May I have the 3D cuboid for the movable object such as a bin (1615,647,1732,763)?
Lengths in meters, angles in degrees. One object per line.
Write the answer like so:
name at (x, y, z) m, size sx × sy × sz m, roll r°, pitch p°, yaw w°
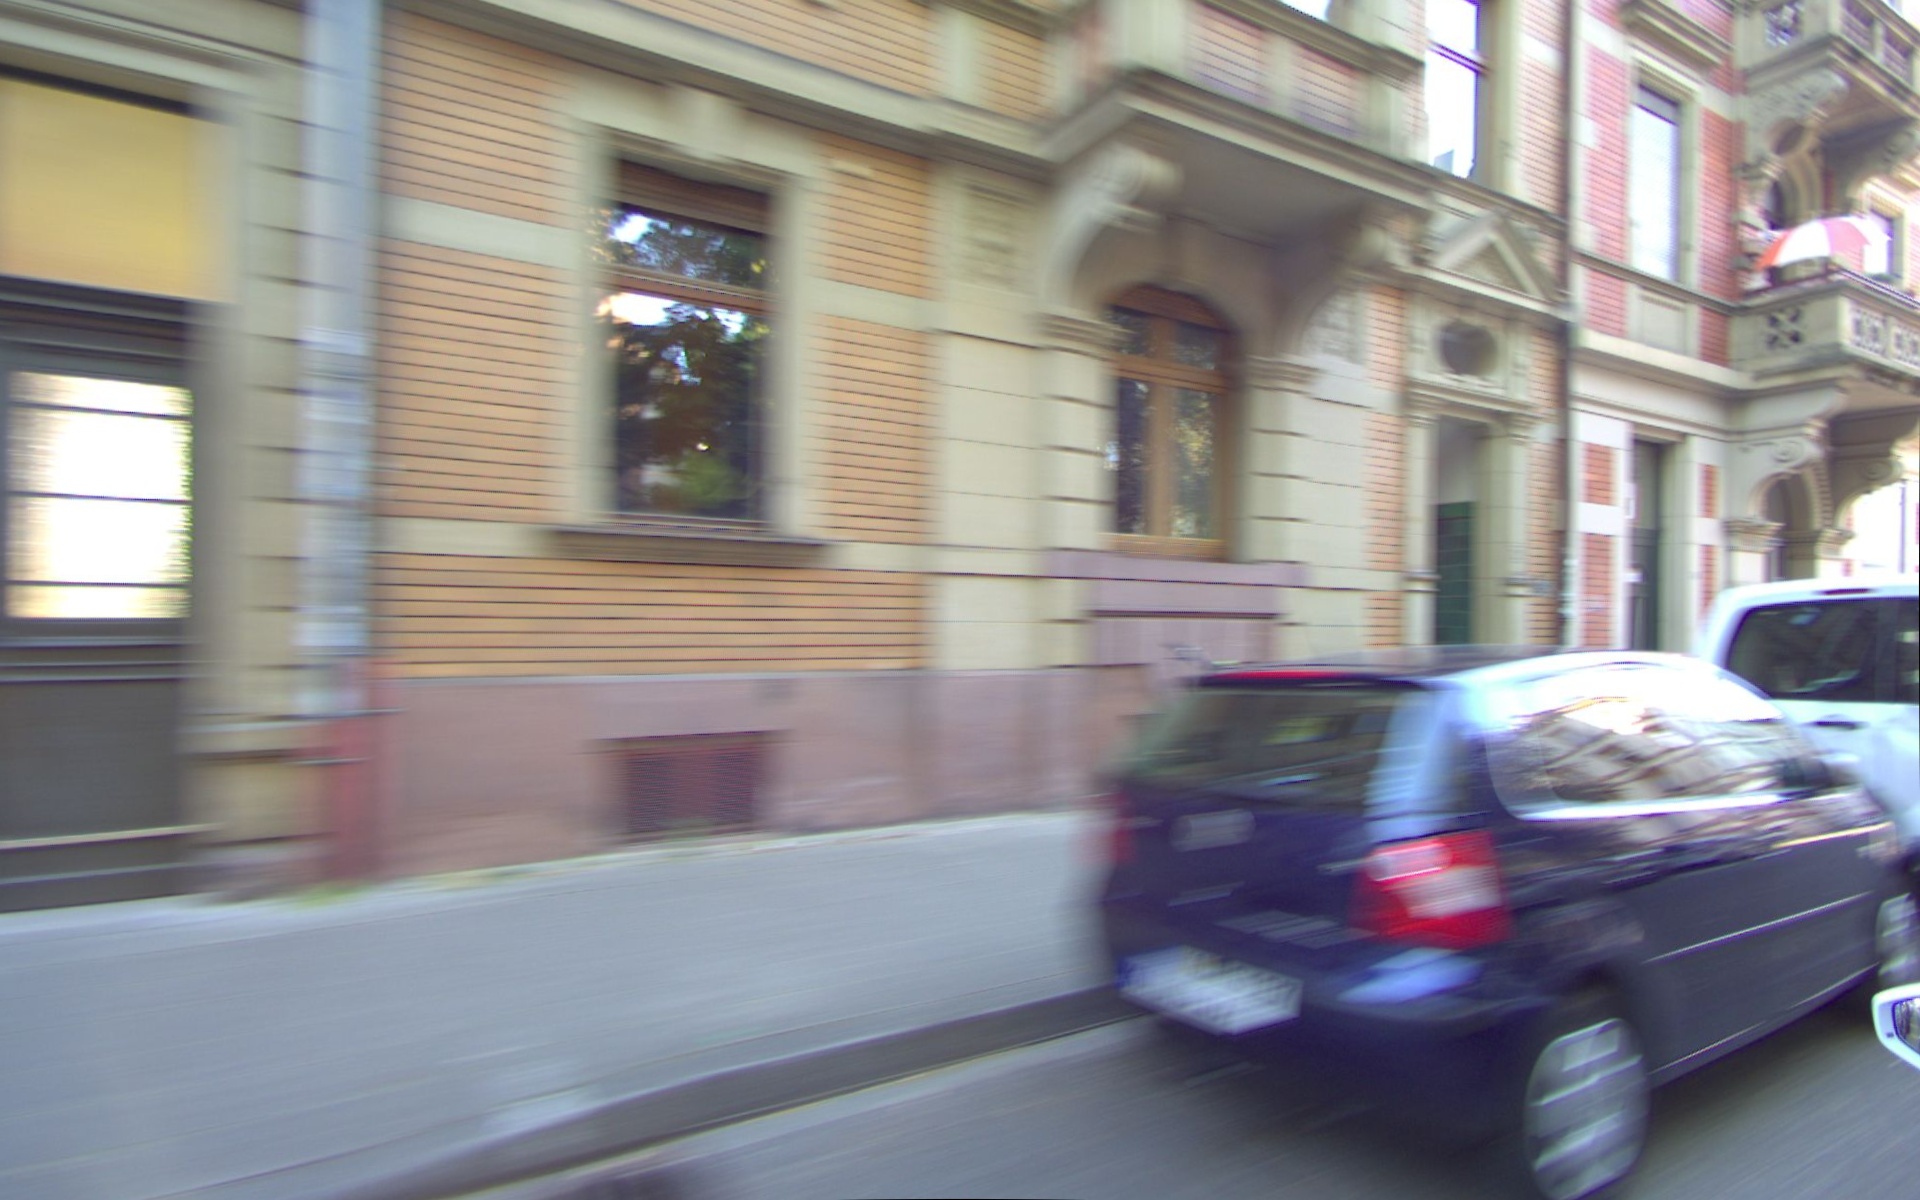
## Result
movable object such as a bin at (7.099, 1.021, 9.998) m, size 0.846 × 1.055 × 0.634 m, roll 1°, pitch 1°, yaw -30°

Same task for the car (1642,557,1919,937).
car at (6.445, 0.763, 6.285) m, size 4.518 × 1.835 × 1.823 m, roll 1°, pitch -3°, yaw -31°

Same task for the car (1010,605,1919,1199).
car at (2.275, 0.853, 3.948) m, size 3.930 × 1.534 × 1.683 m, roll 1°, pitch -3°, yaw -33°

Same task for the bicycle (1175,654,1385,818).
bicycle at (2.359, 0.944, 7.356) m, size 1.528 × 1.055 × 0.568 m, roll 1°, pitch 1°, yaw -30°
